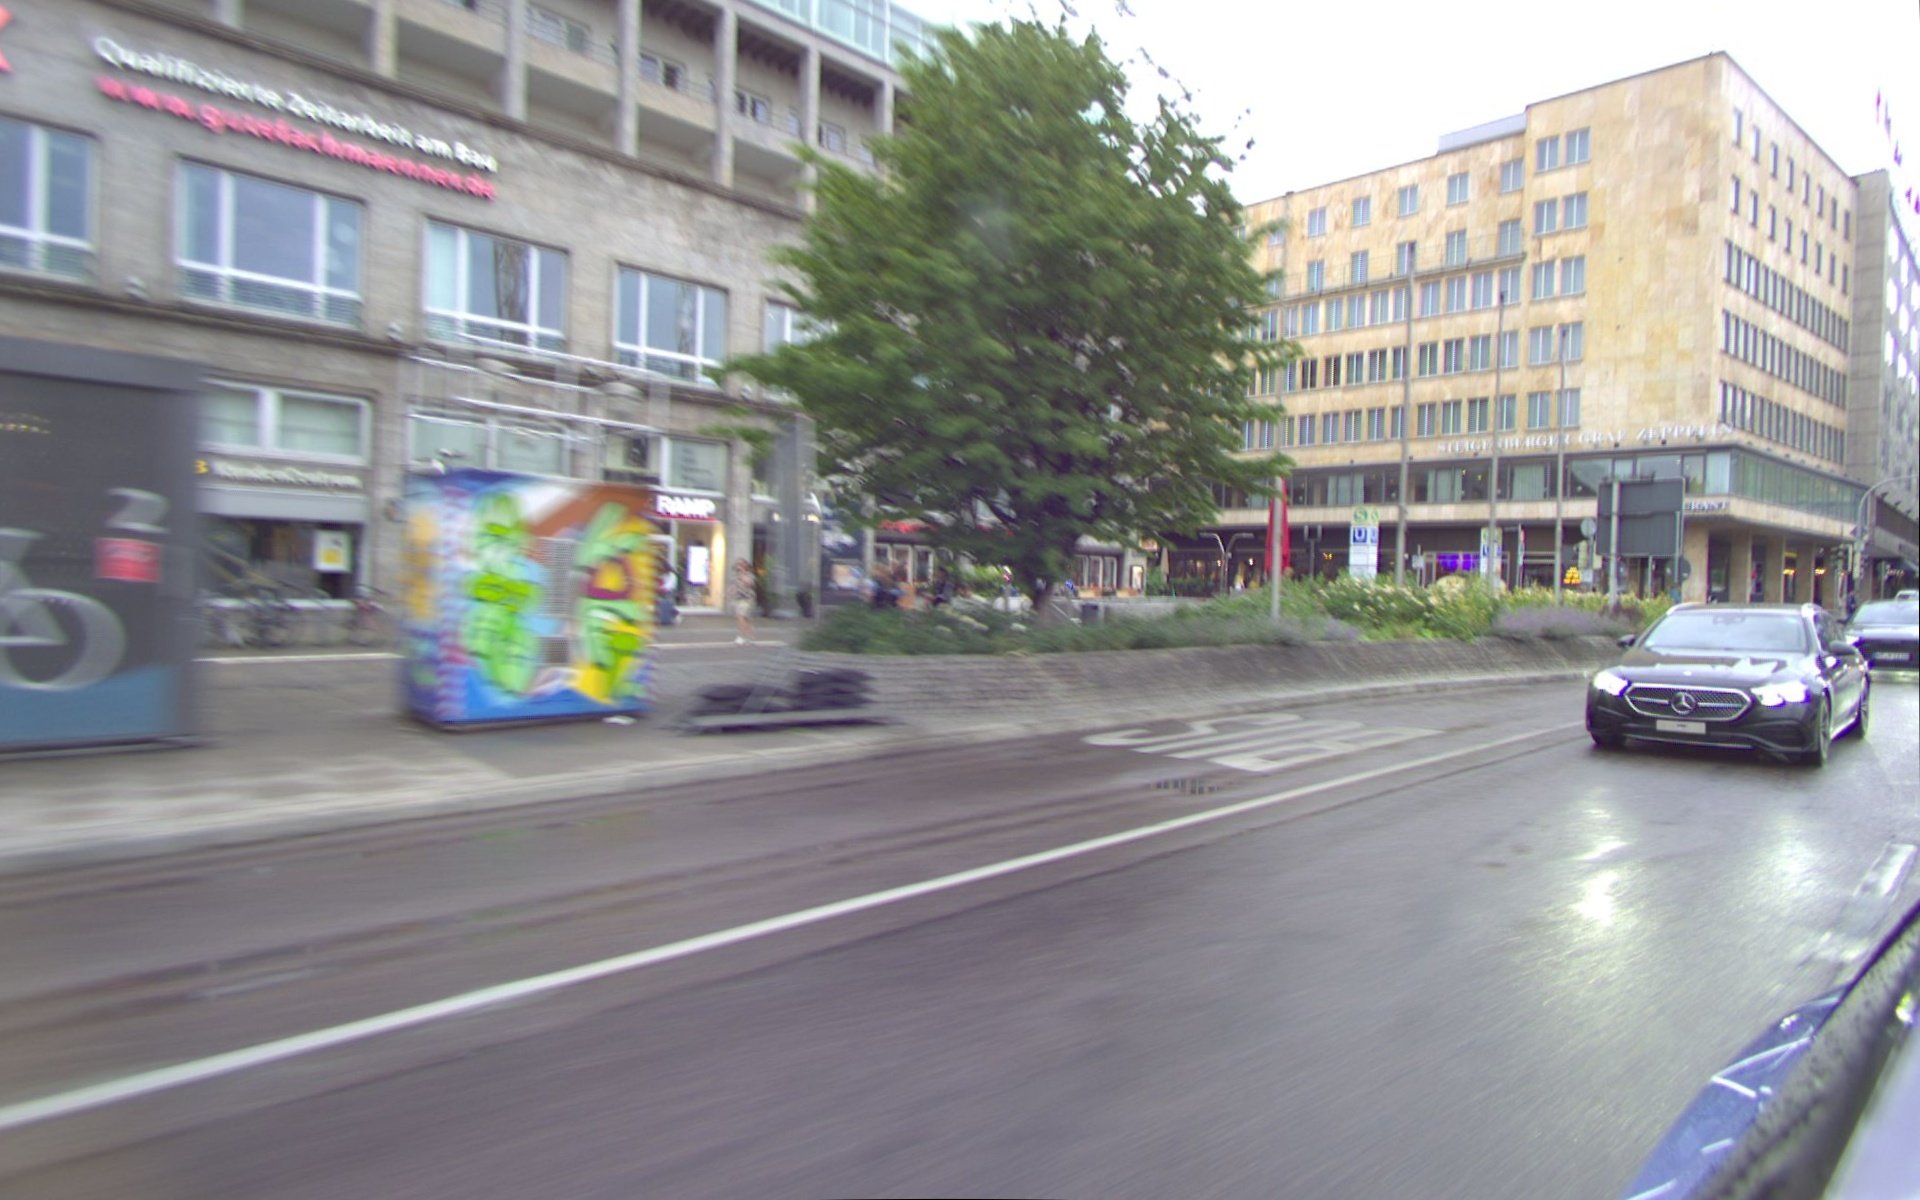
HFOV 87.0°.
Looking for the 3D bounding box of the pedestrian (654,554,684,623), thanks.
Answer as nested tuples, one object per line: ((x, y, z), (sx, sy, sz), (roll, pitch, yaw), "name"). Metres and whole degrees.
((-7.673, -0.303, 26.667), (0.563, 1.773, 0.526), (0, 1, -43), "pedestrian")

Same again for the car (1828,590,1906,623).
((41.844, 0.262, 46.644), (4.405, 1.431, 2.192), (0, 2, -42), "car")

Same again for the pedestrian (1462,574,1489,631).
((16.495, 0.081, 32.361), (0.669, 1.812, 0.536), (0, 0, -39), "pedestrian")

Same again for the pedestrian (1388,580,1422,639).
((13.707, 0.277, 31.182), (0.823, 1.773, 0.698), (0, 1, -44), "pedestrian")

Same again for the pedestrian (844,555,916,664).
((-1.349, 0.144, 17.137), (1.059, 1.773, 0.641), (0, 1, -44), "pedestrian")

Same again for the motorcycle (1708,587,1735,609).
((44.417, -0.146, 59.015), (2.492, 1.246, 0.730), (0, 1, -41), "motorcycle")

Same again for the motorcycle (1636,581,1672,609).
((38.276, -0.286, 55.809), (2.801, 1.471, 0.963), (0, 1, -41), "motorcycle")

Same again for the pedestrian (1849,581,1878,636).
((32.286, 0.293, 36.167), (0.779, 1.943, 0.674), (0, 1, -41), "pedestrian")

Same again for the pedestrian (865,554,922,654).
((-1.219, 0.065, 18.555), (0.854, 1.773, 0.613), (0, 1, -44), "pedestrian")

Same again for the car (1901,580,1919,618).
((49.533, -0.049, 51.462), (4.910, 1.908, 1.997), (0, 1, -42), "car")

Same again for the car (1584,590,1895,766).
((8.480, 0.641, 10.835), (4.619, 1.482, 1.821), (0, 1, -42), "car")

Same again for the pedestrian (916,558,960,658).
((-0.402, 0.134, 18.415), (0.558, 1.773, 0.567), (0, 1, -44), "pedestrian")

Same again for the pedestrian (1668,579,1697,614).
((39.401, -0.226, 55.218), (1.089, 1.870, 1.000), (-1, 2, -39), "pedestrian")

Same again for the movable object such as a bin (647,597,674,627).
((-7.691, 0.306, 25.994), (0.470, 0.734, 0.572), (0, 1, -44), "movable object such as a bin")

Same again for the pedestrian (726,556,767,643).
((-4.444, -0.020, 21.054), (0.625, 1.773, 0.532), (0, 1, -44), "pedestrian")

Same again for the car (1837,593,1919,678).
((19.050, 0.651, 20.141), (4.092, 1.527, 1.875), (0, 2, -42), "car")
